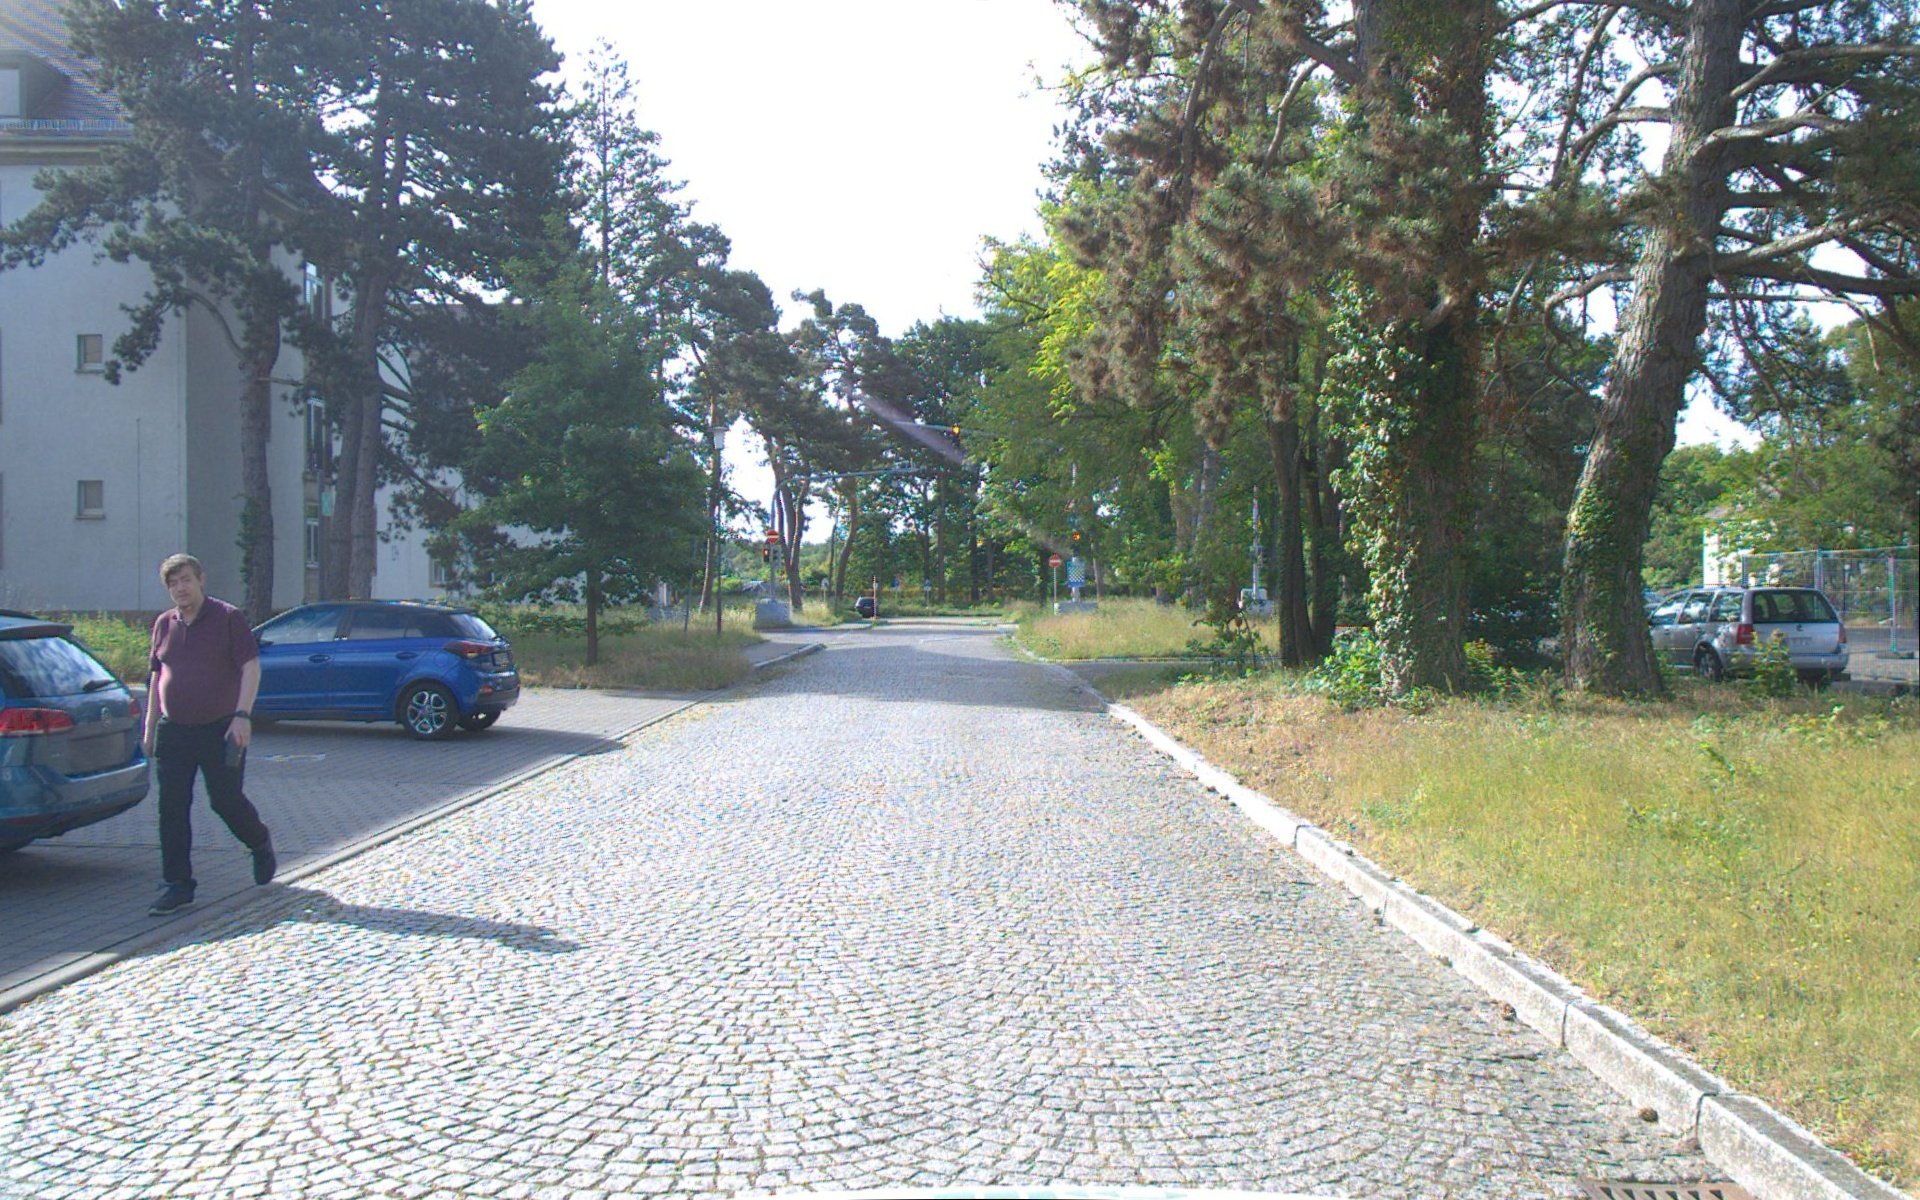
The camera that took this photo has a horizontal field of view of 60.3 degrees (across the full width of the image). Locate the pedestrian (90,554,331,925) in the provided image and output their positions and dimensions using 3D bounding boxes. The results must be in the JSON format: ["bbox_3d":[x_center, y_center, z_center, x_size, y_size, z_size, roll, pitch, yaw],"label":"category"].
[{"bbox_3d":[-3.880,0.677,8.660,0.788,1.802,1.152,-1,0,-5],"label":"pedestrian"}]

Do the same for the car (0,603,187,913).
[{"bbox_3d":[-6.743,0.762,9.080,4.172,1.489,1.680,1,2,-3],"label":"car"}]

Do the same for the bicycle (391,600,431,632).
[{"bbox_3d":[-22.669,0.656,68.318,0.809,1.303,2.553,-1,0,-1],"label":"bicycle"}]

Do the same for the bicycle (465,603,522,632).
[{"bbox_3d":[-18.927,0.702,67.129,2.075,1.128,0.828,-1,0,-4],"label":"bicycle"}]

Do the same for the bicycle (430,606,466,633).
[{"bbox_3d":[-21.134,0.799,68.302,0.809,1.065,2.124,-1,0,-1],"label":"bicycle"}]

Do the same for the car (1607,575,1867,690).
[{"bbox_3d":[11.013,0.417,23.758,1.634,1.493,3.997,-1,0,-4],"label":"car"}]

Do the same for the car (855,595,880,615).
[{"bbox_3d":[-6.985,0.373,124.848,1.808,1.512,3.998,-1,0,-3],"label":"car"}]

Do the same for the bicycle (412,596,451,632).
[{"bbox_3d":[-21.914,0.575,68.631,0.809,1.462,2.553,-1,0,-1],"label":"bicycle"}]

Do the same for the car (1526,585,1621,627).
[{"bbox_3d":[22.881,0.200,61.878,1.697,1.502,4.328,0,0,-4],"label":"car"}]

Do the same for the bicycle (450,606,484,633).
[{"bbox_3d":[-20.367,0.812,68.357,0.809,1.065,2.124,-1,0,-1],"label":"bicycle"}]

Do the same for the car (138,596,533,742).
[{"bbox_3d":[-6.951,0.741,18.680,3.757,1.489,1.720,1,0,1],"label":"car"}]

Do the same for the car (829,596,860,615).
[{"bbox_3d":[-9.004,0.423,129.589,1.745,1.516,3.758,-1,0,6],"label":"car"}]

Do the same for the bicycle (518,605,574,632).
[{"bbox_3d":[-16.844,0.733,67.257,2.075,1.065,0.828,-1,0,-4],"label":"bicycle"}]
